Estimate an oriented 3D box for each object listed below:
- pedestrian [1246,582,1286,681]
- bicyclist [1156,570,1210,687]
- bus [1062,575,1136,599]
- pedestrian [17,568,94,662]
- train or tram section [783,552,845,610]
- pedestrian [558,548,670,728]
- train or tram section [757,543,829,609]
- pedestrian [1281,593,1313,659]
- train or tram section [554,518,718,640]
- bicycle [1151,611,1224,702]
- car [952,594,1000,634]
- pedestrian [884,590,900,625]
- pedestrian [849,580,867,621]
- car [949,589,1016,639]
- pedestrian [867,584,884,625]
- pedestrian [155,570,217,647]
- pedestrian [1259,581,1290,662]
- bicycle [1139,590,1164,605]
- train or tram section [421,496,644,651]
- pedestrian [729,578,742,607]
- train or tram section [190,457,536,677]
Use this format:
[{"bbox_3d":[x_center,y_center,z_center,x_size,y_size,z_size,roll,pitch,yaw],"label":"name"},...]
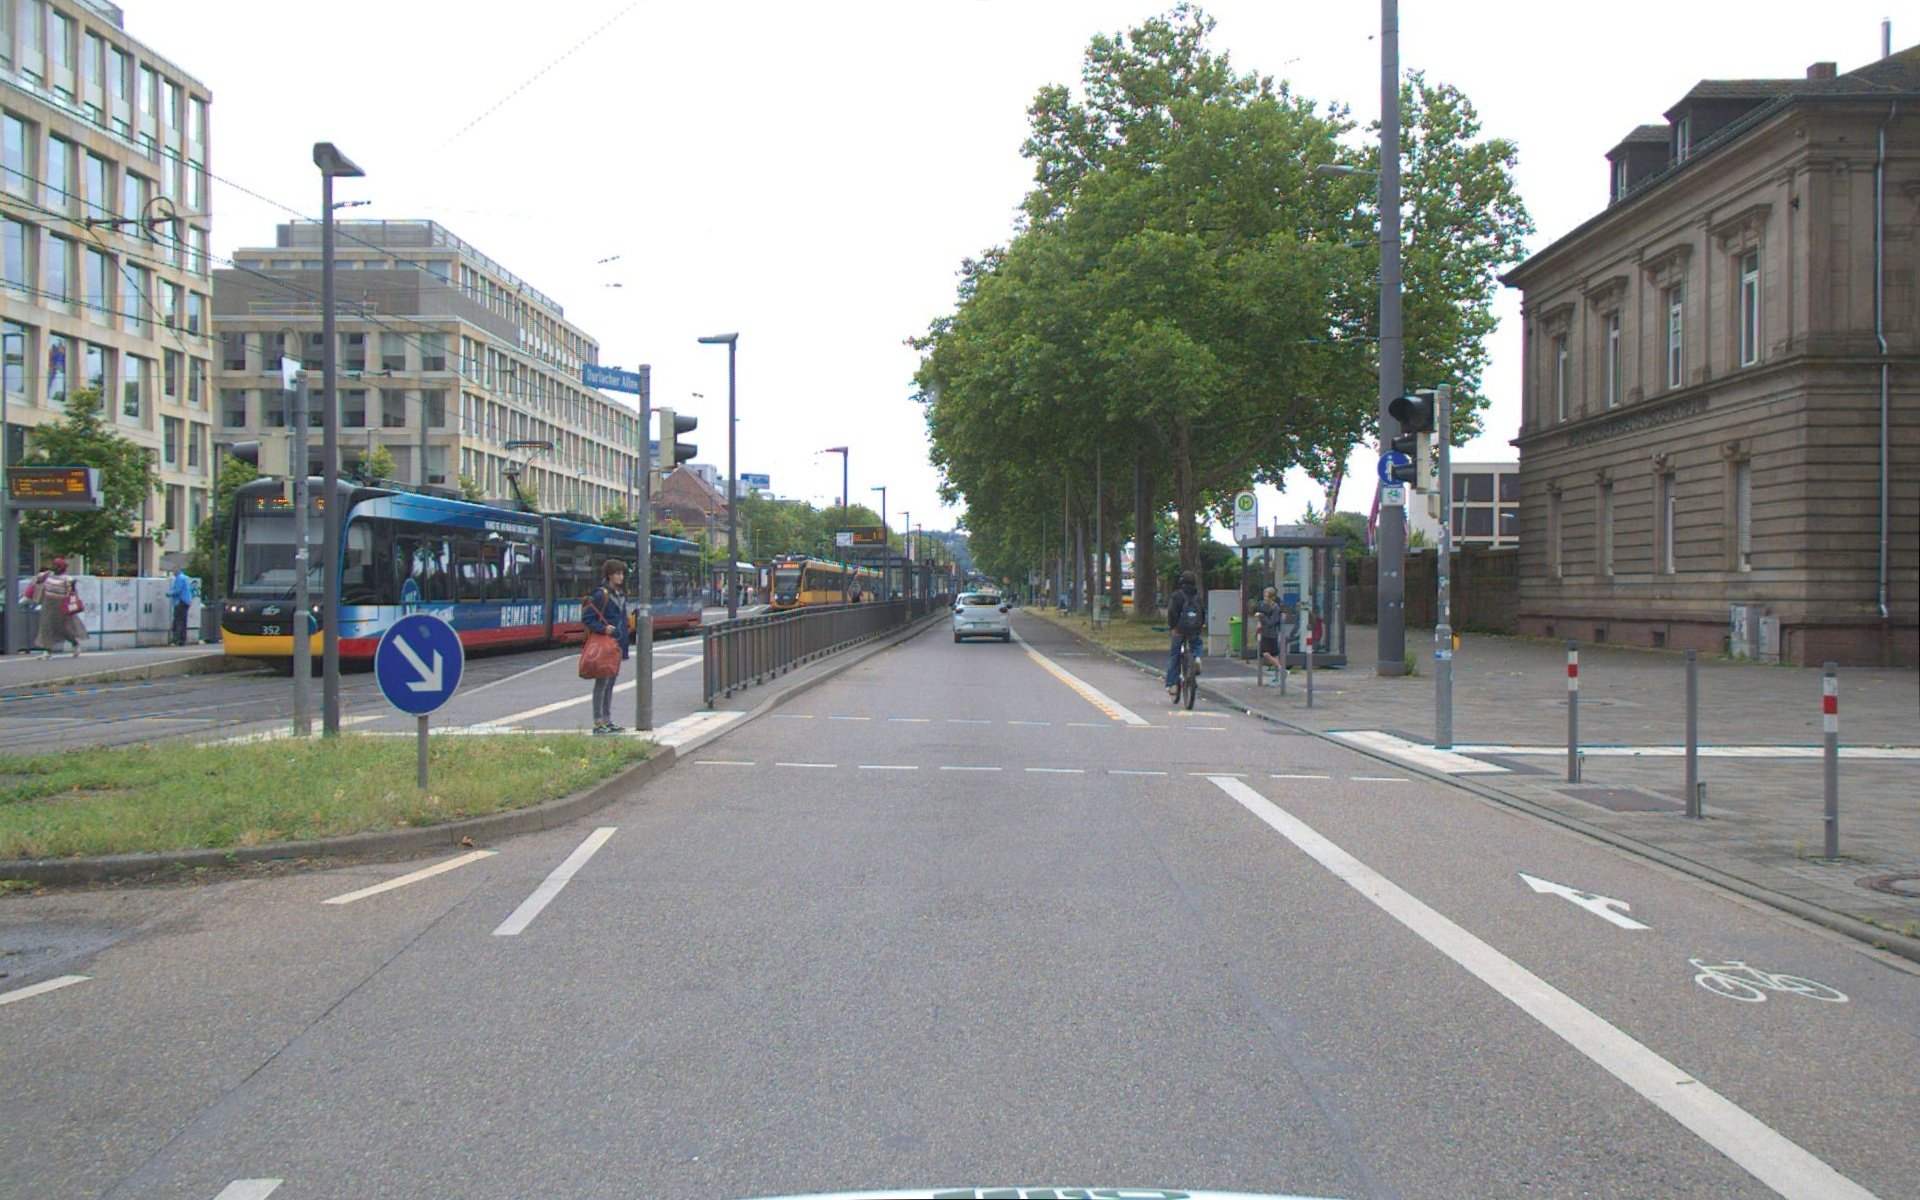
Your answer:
[{"bbox_3d":[4.890,0.501,26.394,0.540,1.555,0.638,-1,-1,18],"label":"pedestrian"},{"bbox_3d":[3.037,0.382,22.526,0.628,1.557,0.664,0,-1,-1],"label":"bicyclist"},{"bbox_3d":[17.250,-1.619,205.689,9.089,3.011,1.999,0,-1,-2],"label":"bus"},{"bbox_3d":[-15.882,0.259,29.071,0.889,1.613,0.848,0,-1,-1],"label":"pedestrian"},{"bbox_3d":[-10.225,-1.247,116.834,3.098,3.929,11.313,0,0,1],"label":"train or tram section"},{"bbox_3d":[-3.315,0.352,15.858,0.853,1.671,0.643,0,-1,-41],"label":"pedestrian"},{"bbox_3d":[-10.531,-1.417,105.420,3.170,3.929,11.313,0,0,1],"label":"train or tram section"},{"bbox_3d":[6.444,0.496,31.663,0.466,1.255,0.702,0,-1,0],"label":"pedestrian"},{"bbox_3d":[-11.028,-0.613,58.023,2.795,3.756,13.522,0,0,1],"label":"train or tram section"},{"bbox_3d":[3.093,0.741,22.668,0.639,1.170,2.282,0,0,-1],"label":"bicycle"},{"bbox_3d":[0.671,0.549,67.526,1.802,1.579,4.001,0,0,2],"label":"car"},{"bbox_3d":[-2.723,0.308,66.051,0.598,1.364,0.600,0,-1,1],"label":"pedestrian"},{"bbox_3d":[-4.608,0.018,74.517,0.658,1.825,1.110,0,-1,-12],"label":"pedestrian"},{"bbox_3d":[0.750,0.434,51.737,1.845,1.478,4.002,0,0,4],"label":"car"},{"bbox_3d":[-3.852,0.214,75.396,0.657,1.825,1.111,0,-1,-8],"label":"pedestrian"},{"bbox_3d":[-16.582,0.184,35.450,0.827,1.613,0.911,0,-1,14],"label":"pedestrian"},{"bbox_3d":[6.252,0.432,32.908,0.466,1.590,0.702,0,-1,0],"label":"pedestrian"},{"bbox_3d":[14.792,-0.186,127.643,1.851,1.124,0.550,-2,0,-1],"label":"bicycle"},{"bbox_3d":[-11.362,-0.605,45.464,2.795,3.704,11.702,0,0,2],"label":"train or tram section"},{"bbox_3d":[-14.059,-0.471,103.634,0.697,1.827,1.160,0,-1,0],"label":"pedestrian"},{"bbox_3d":[-11.577,-0.525,33.776,2.796,3.704,11.765,0,0,0],"label":"train or tram section"}]
